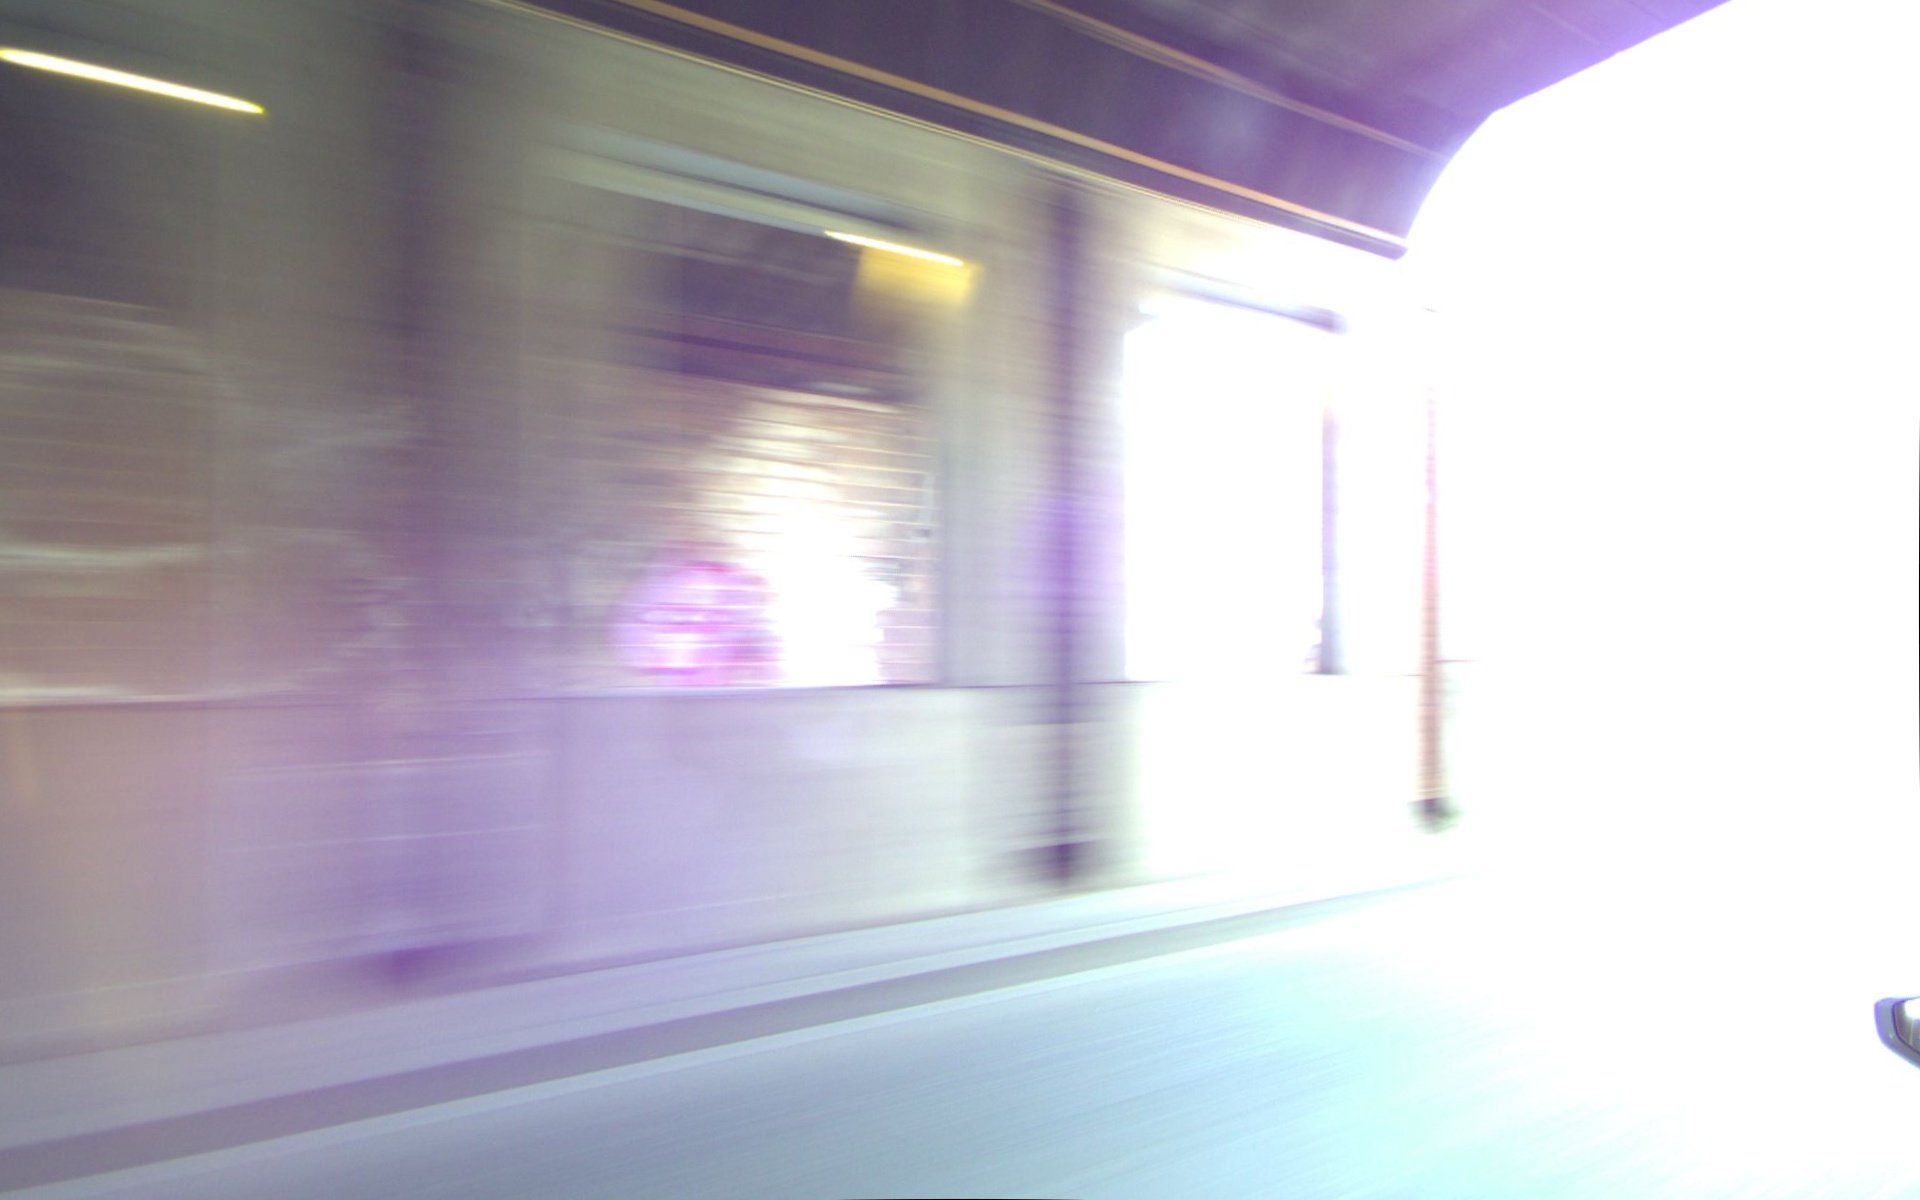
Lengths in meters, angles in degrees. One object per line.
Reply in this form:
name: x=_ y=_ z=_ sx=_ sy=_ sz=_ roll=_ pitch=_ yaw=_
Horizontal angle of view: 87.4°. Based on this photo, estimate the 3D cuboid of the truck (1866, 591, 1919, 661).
truck: x=55.807 y=1.478 z=55.687 sx=2.658 sy=3.934 sz=9.336 roll=2 pitch=-2 yaw=0

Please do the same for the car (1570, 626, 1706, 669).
car: x=25.835 y=1.805 z=38.340 sx=1.875 sy=1.466 sz=3.988 roll=5 pitch=-4 yaw=-42
